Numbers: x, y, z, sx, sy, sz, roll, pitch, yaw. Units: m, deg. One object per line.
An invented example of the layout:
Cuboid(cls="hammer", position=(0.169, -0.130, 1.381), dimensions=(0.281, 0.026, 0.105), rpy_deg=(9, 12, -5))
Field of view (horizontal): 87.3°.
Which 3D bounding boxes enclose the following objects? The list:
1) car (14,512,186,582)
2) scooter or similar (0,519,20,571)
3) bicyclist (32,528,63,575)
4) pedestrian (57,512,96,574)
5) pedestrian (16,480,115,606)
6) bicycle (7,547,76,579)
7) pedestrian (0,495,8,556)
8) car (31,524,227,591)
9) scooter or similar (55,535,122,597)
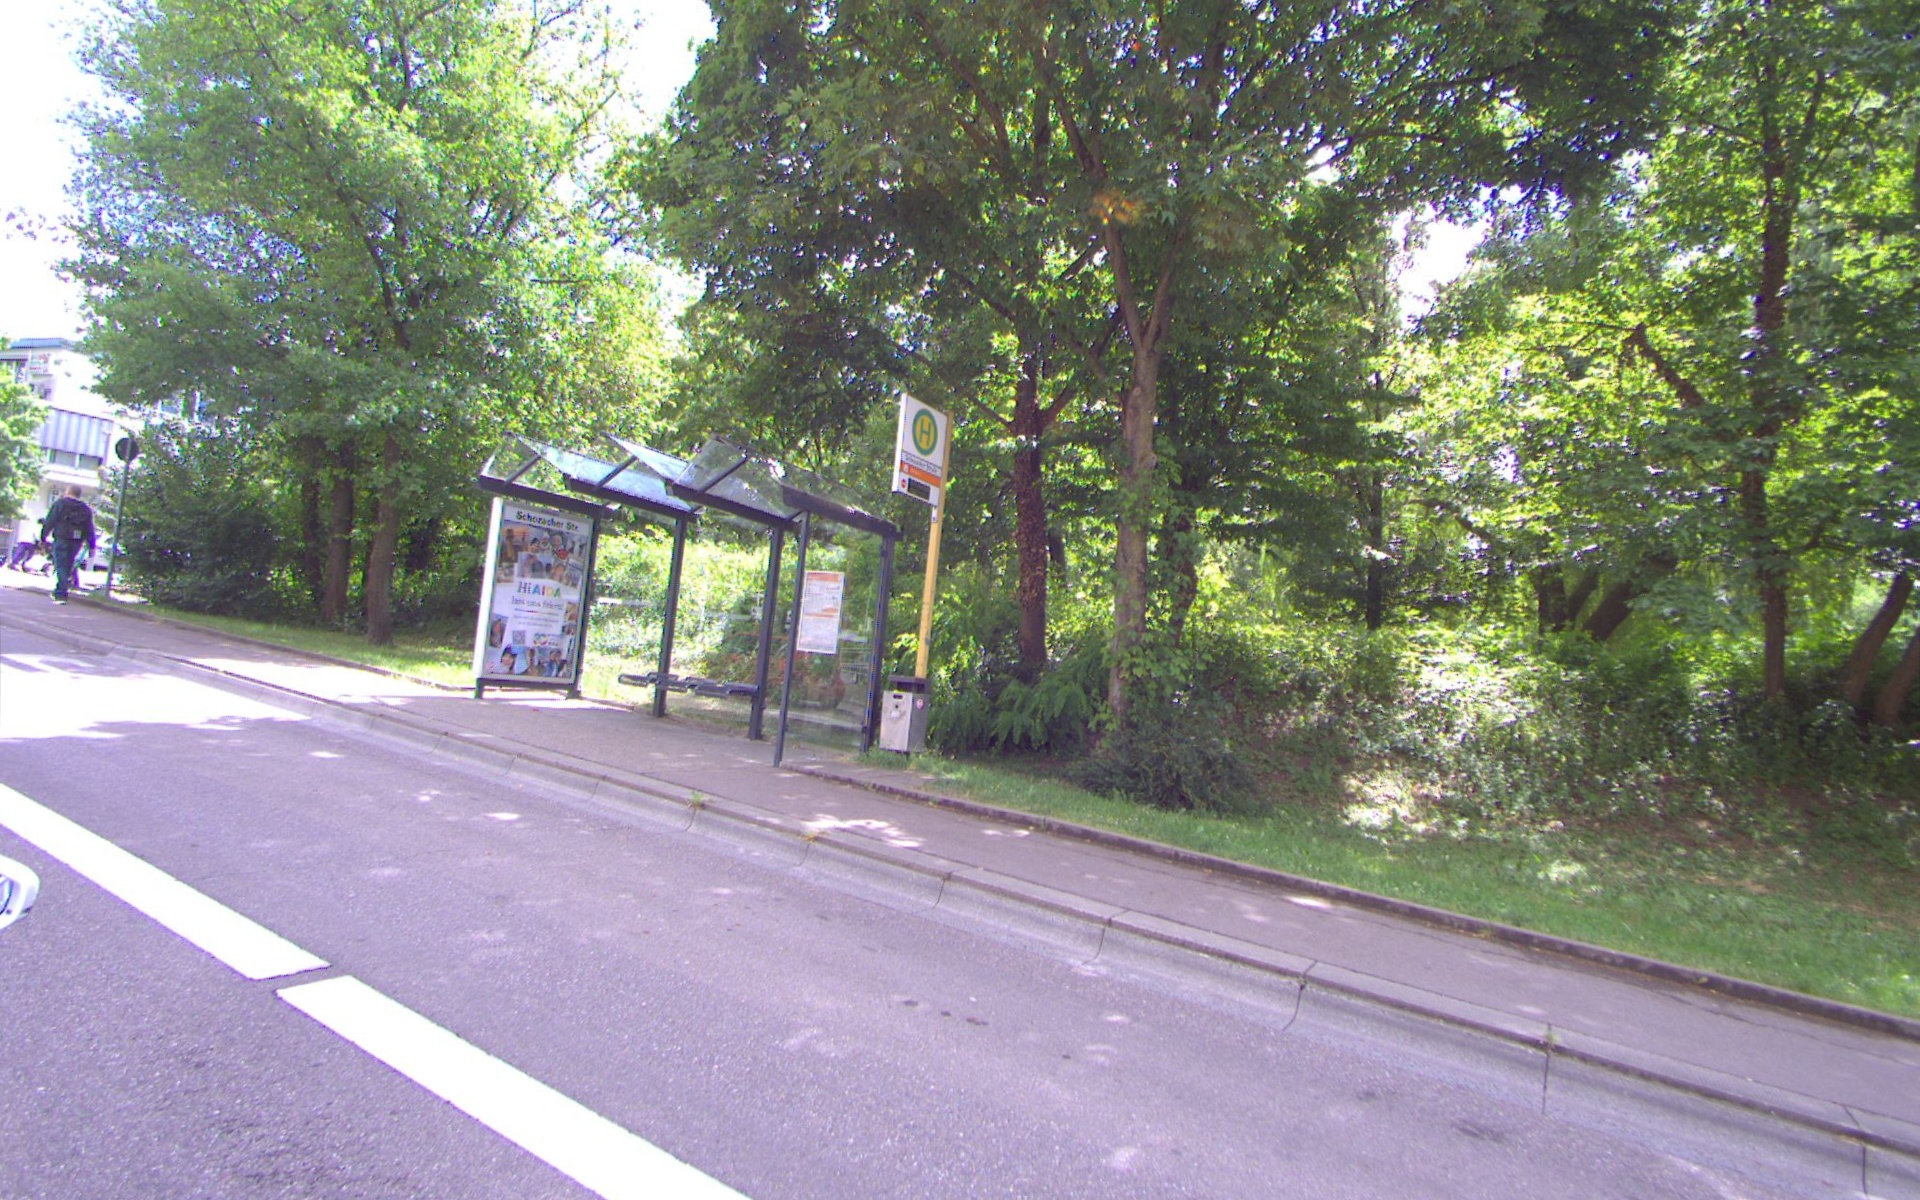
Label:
Cuboid(cls="car", position=(-33.260, -2.004, 39.057), dimensions=(1.964, 2.037, 4.549), rpy_deg=(6, -1, 24))
Cuboid(cls="scooter or similar", position=(-24.983, -1.480, 25.717), dimensions=(0.546, 1.286, 1.153), rpy_deg=(6, -3, 34))
Cuboid(cls="bicyclist", position=(-24.336, -1.290, 26.827), dimensions=(0.397, 1.169, 0.498), rpy_deg=(11, -3, -37))
Cuboid(cls="pedestrian", position=(-26.374, -1.689, 30.034), dimensions=(0.653, 1.733, 0.458), rpy_deg=(8, -1, -33))
Cuboid(cls="pedestrian", position=(-14.584, -0.925, 16.411), dimensions=(0.997, 1.898, 0.796), rpy_deg=(6, -1, 33))
Cuboid(cls="bicycle", position=(-24.321, -0.976, 26.632), dimensions=(1.560, 0.617, 0.535), rpy_deg=(7, -2, 15))
Cuboid(cls="pedestrian", position=(-22.212, -1.550, 22.780), dimensions=(0.508, 1.787, 0.638), rpy_deg=(7, -1, 21))
Cuboid(cls="car", position=(-28.810, -1.431, 35.102), dimensions=(1.964, 1.539, 4.808), rpy_deg=(7, -3, 24))
Cuboid(cls="scooter or similar", position=(-20.231, -0.782, 23.368), dimensions=(0.447, 1.242, 0.893), rpy_deg=(6, -6, 32))
